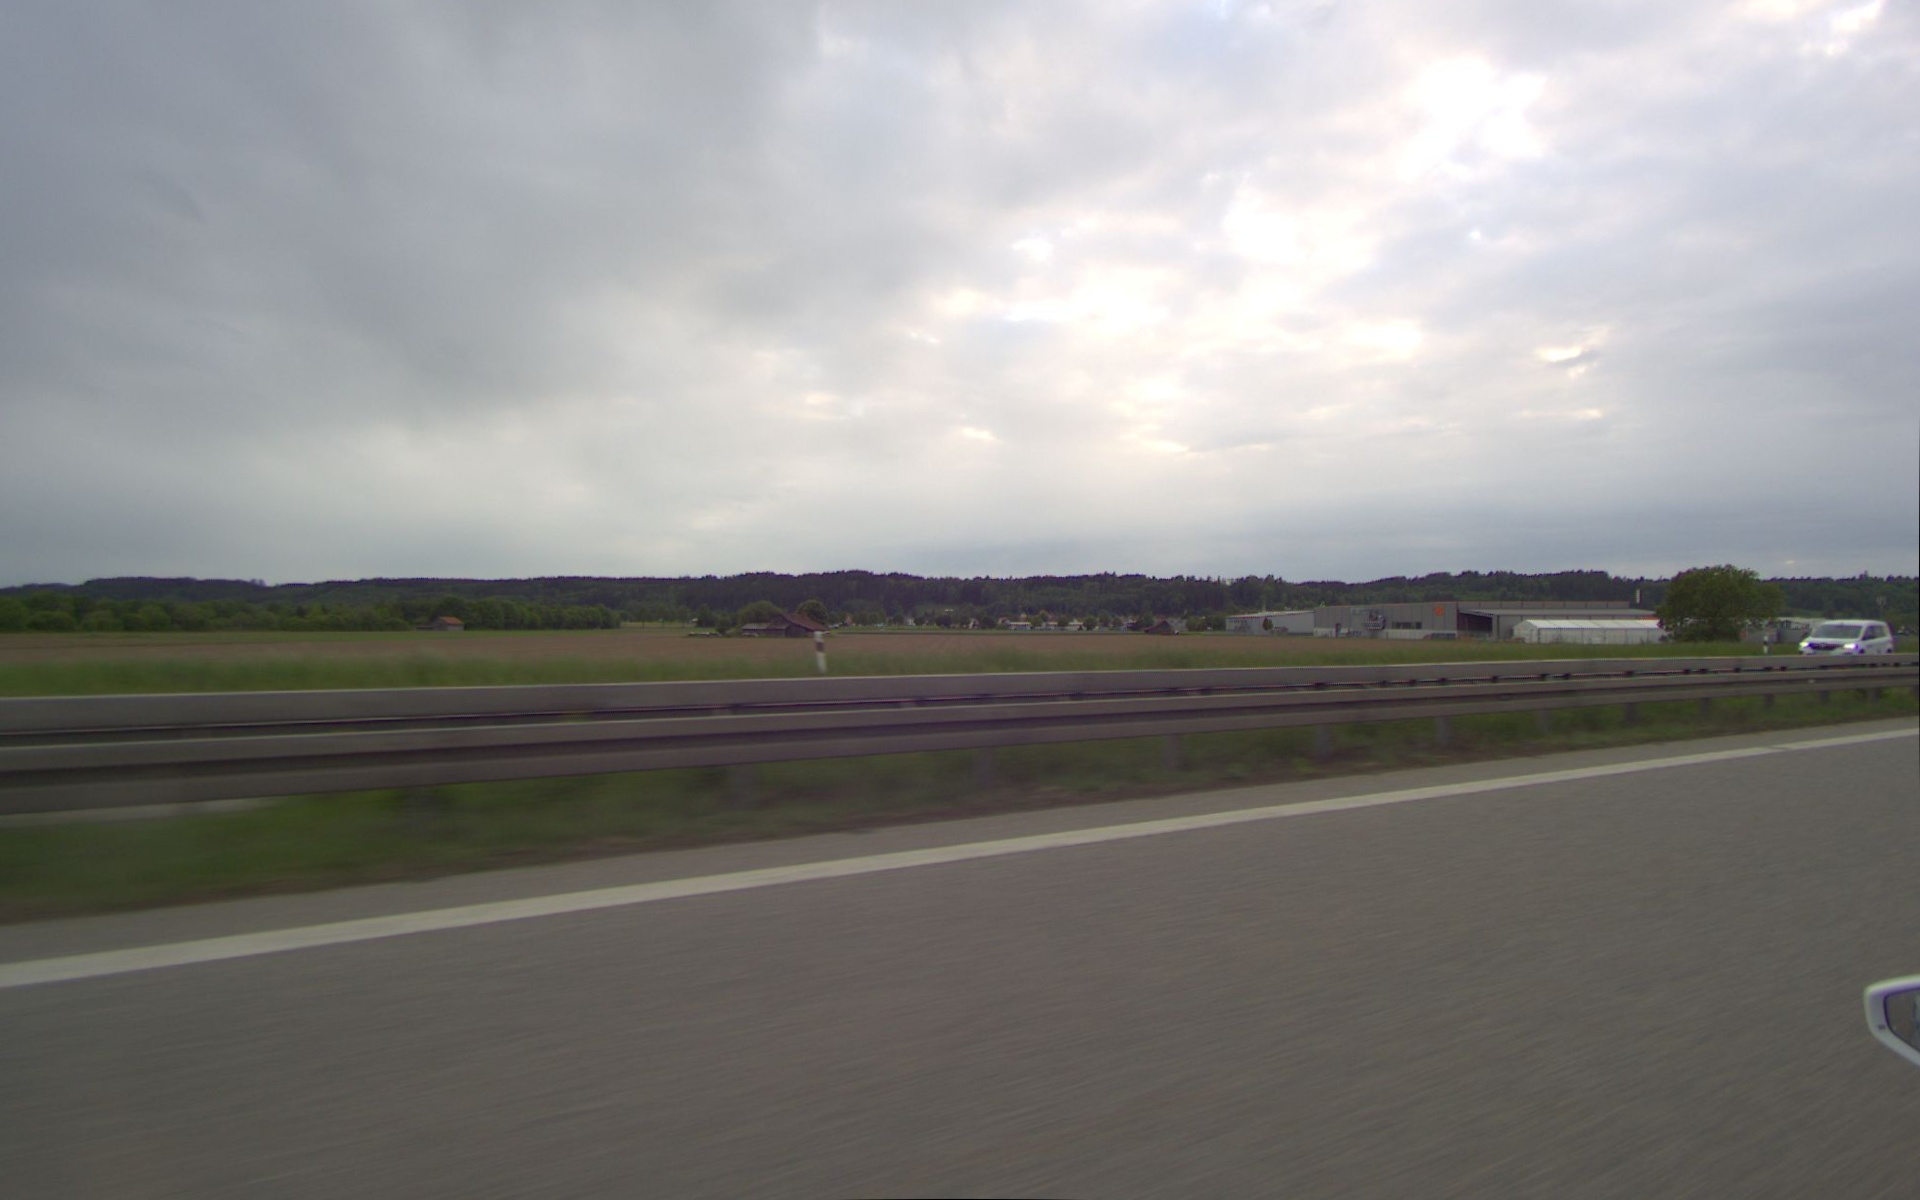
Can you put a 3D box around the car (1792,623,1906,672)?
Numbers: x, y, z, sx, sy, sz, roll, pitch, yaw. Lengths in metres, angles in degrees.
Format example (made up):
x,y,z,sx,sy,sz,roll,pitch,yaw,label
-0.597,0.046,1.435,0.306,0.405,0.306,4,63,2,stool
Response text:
x,y,z,sx,sy,sz,roll,pitch,yaw,label
35.237,1.844,39.792,4.895,1.789,1.983,1,0,-31,car
